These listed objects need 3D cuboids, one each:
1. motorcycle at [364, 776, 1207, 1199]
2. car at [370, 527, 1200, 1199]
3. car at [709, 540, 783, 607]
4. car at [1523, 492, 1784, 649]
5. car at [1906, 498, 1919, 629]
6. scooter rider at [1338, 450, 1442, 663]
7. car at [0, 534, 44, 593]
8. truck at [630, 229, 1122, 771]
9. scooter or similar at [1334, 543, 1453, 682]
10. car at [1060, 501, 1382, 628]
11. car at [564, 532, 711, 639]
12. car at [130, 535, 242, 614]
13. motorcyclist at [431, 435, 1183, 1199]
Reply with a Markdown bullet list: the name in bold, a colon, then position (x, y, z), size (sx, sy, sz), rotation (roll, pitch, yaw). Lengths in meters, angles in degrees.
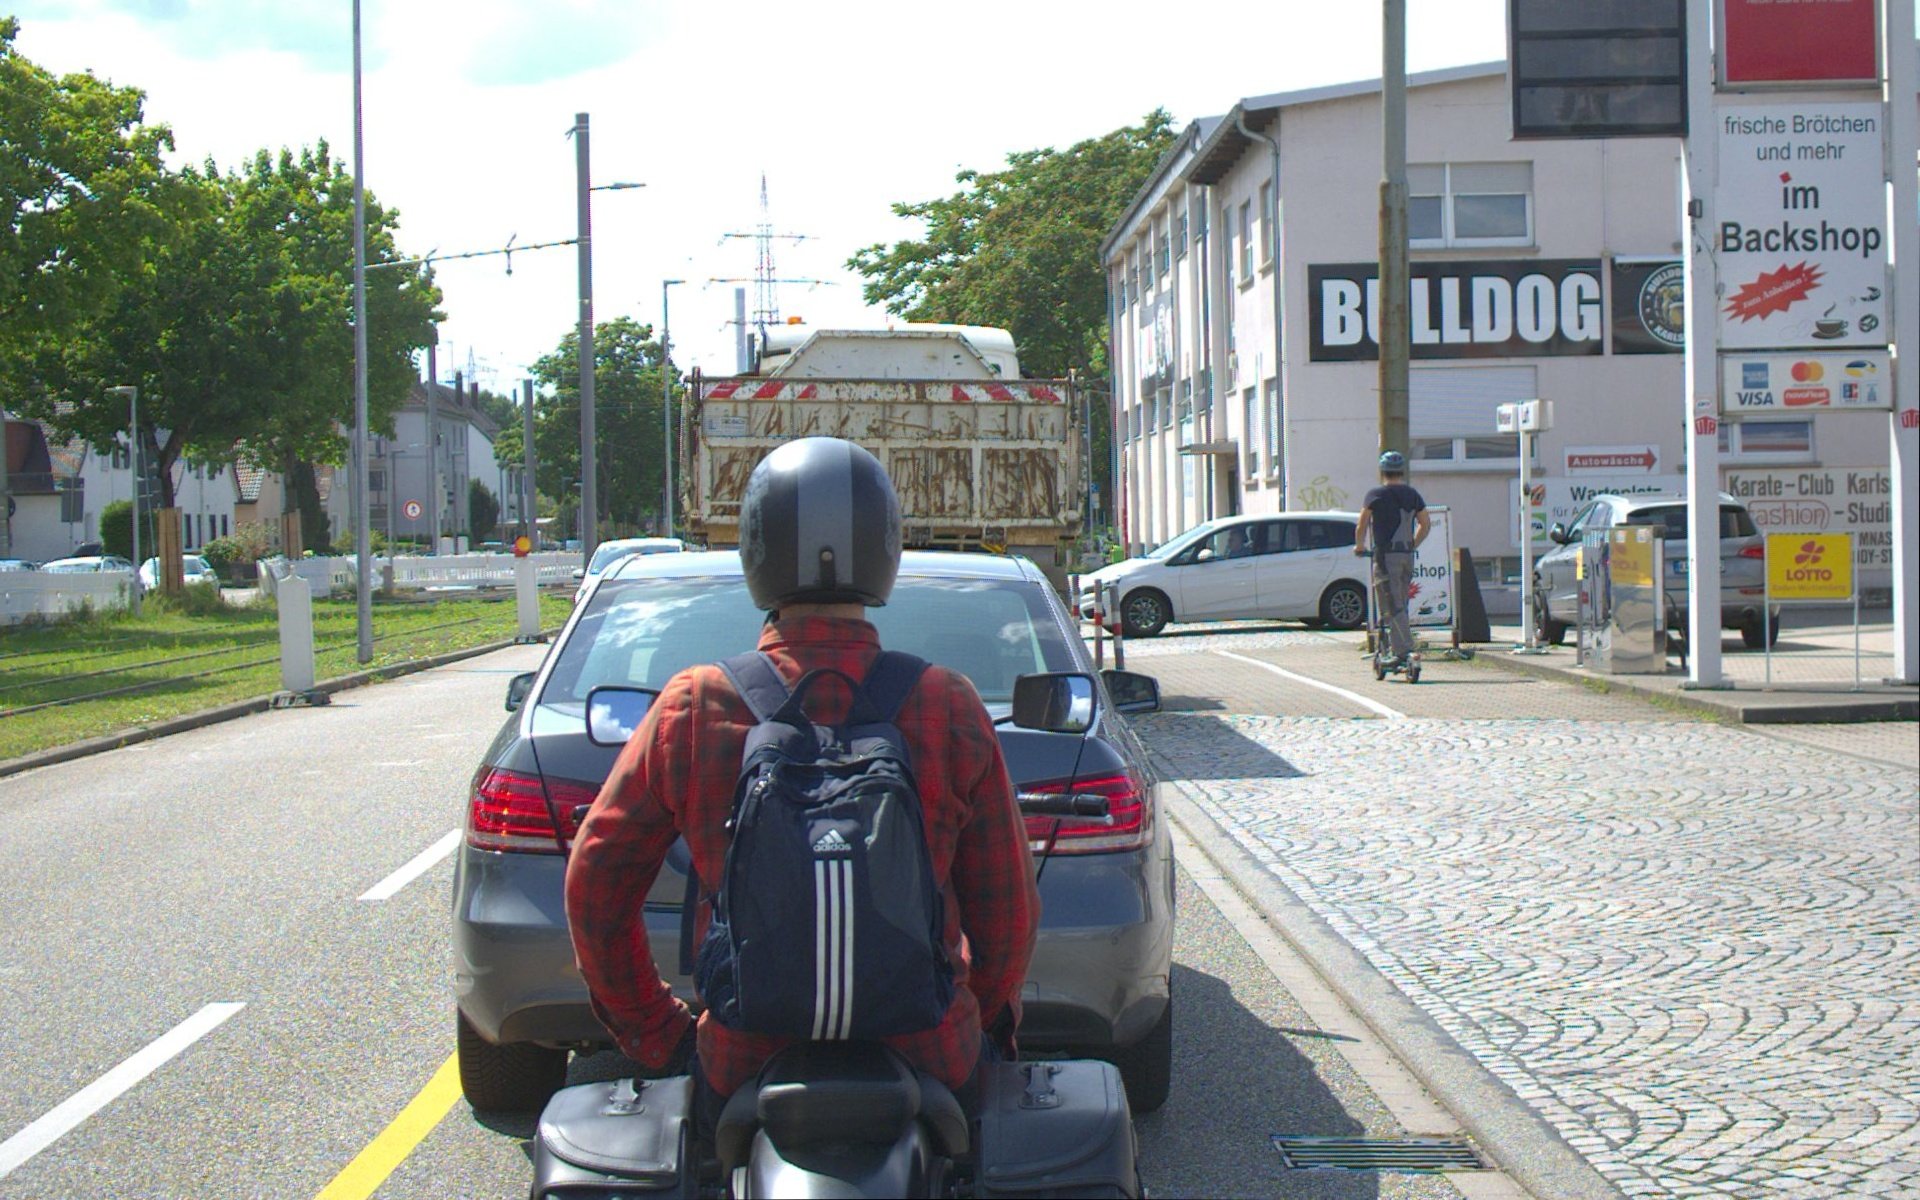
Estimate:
- **motorcycle**: position (-0.220, 0.865, 5.216), size (0.976, 1.010, 2.432), rotation (1, 1, -1)
- **car**: position (-0.448, 0.554, 9.754), size (1.832, 1.474, 4.010), rotation (-1, 1, -2)
- **car**: position (-5.487, -0.709, 88.449), size (1.680, 1.619, 4.119), rotation (-1, 1, -1)
- **car**: position (7.320, -0.340, 36.653), size (1.832, 1.530, 4.010), rotation (-1, 1, -2)
- **car**: position (11.785, -0.401, 37.251), size (1.832, 1.474, 4.010), rotation (-1, 1, -2)
- **scooter rider**: position (3.722, -0.376, 29.781), size (0.795, 1.812, 0.508), rotation (-1, 1, -1)
- **car**: position (-29.268, -1.111, 104.597), size (1.698, 1.733, 4.062), rotation (-1, 1, 0)
- **truck**: position (-0.638, -0.714, 25.476), size (2.970, 3.293, 8.408), rotation (-1, 1, -2)
- **scooter or similar**: position (3.733, 0.093, 29.689), size (0.795, 1.141, 1.519), rotation (-1, 1, -1)
- **car**: position (3.546, -0.500, 47.039), size (4.104, 1.619, 1.686), rotation (-1, 1, -8)
- **car**: position (-4.546, -0.237, 48.953), size (1.715, 1.409, 4.262), rotation (-1, 1, -1)
- **car**: position (-17.945, -0.621, 79.853), size (1.698, 1.733, 3.860), rotation (-1, 1, 0)
- **motorcyclist**: position (-0.210, 0.590, 5.093), size (0.969, 1.627, 1.215), rotation (1, 1, -1)
